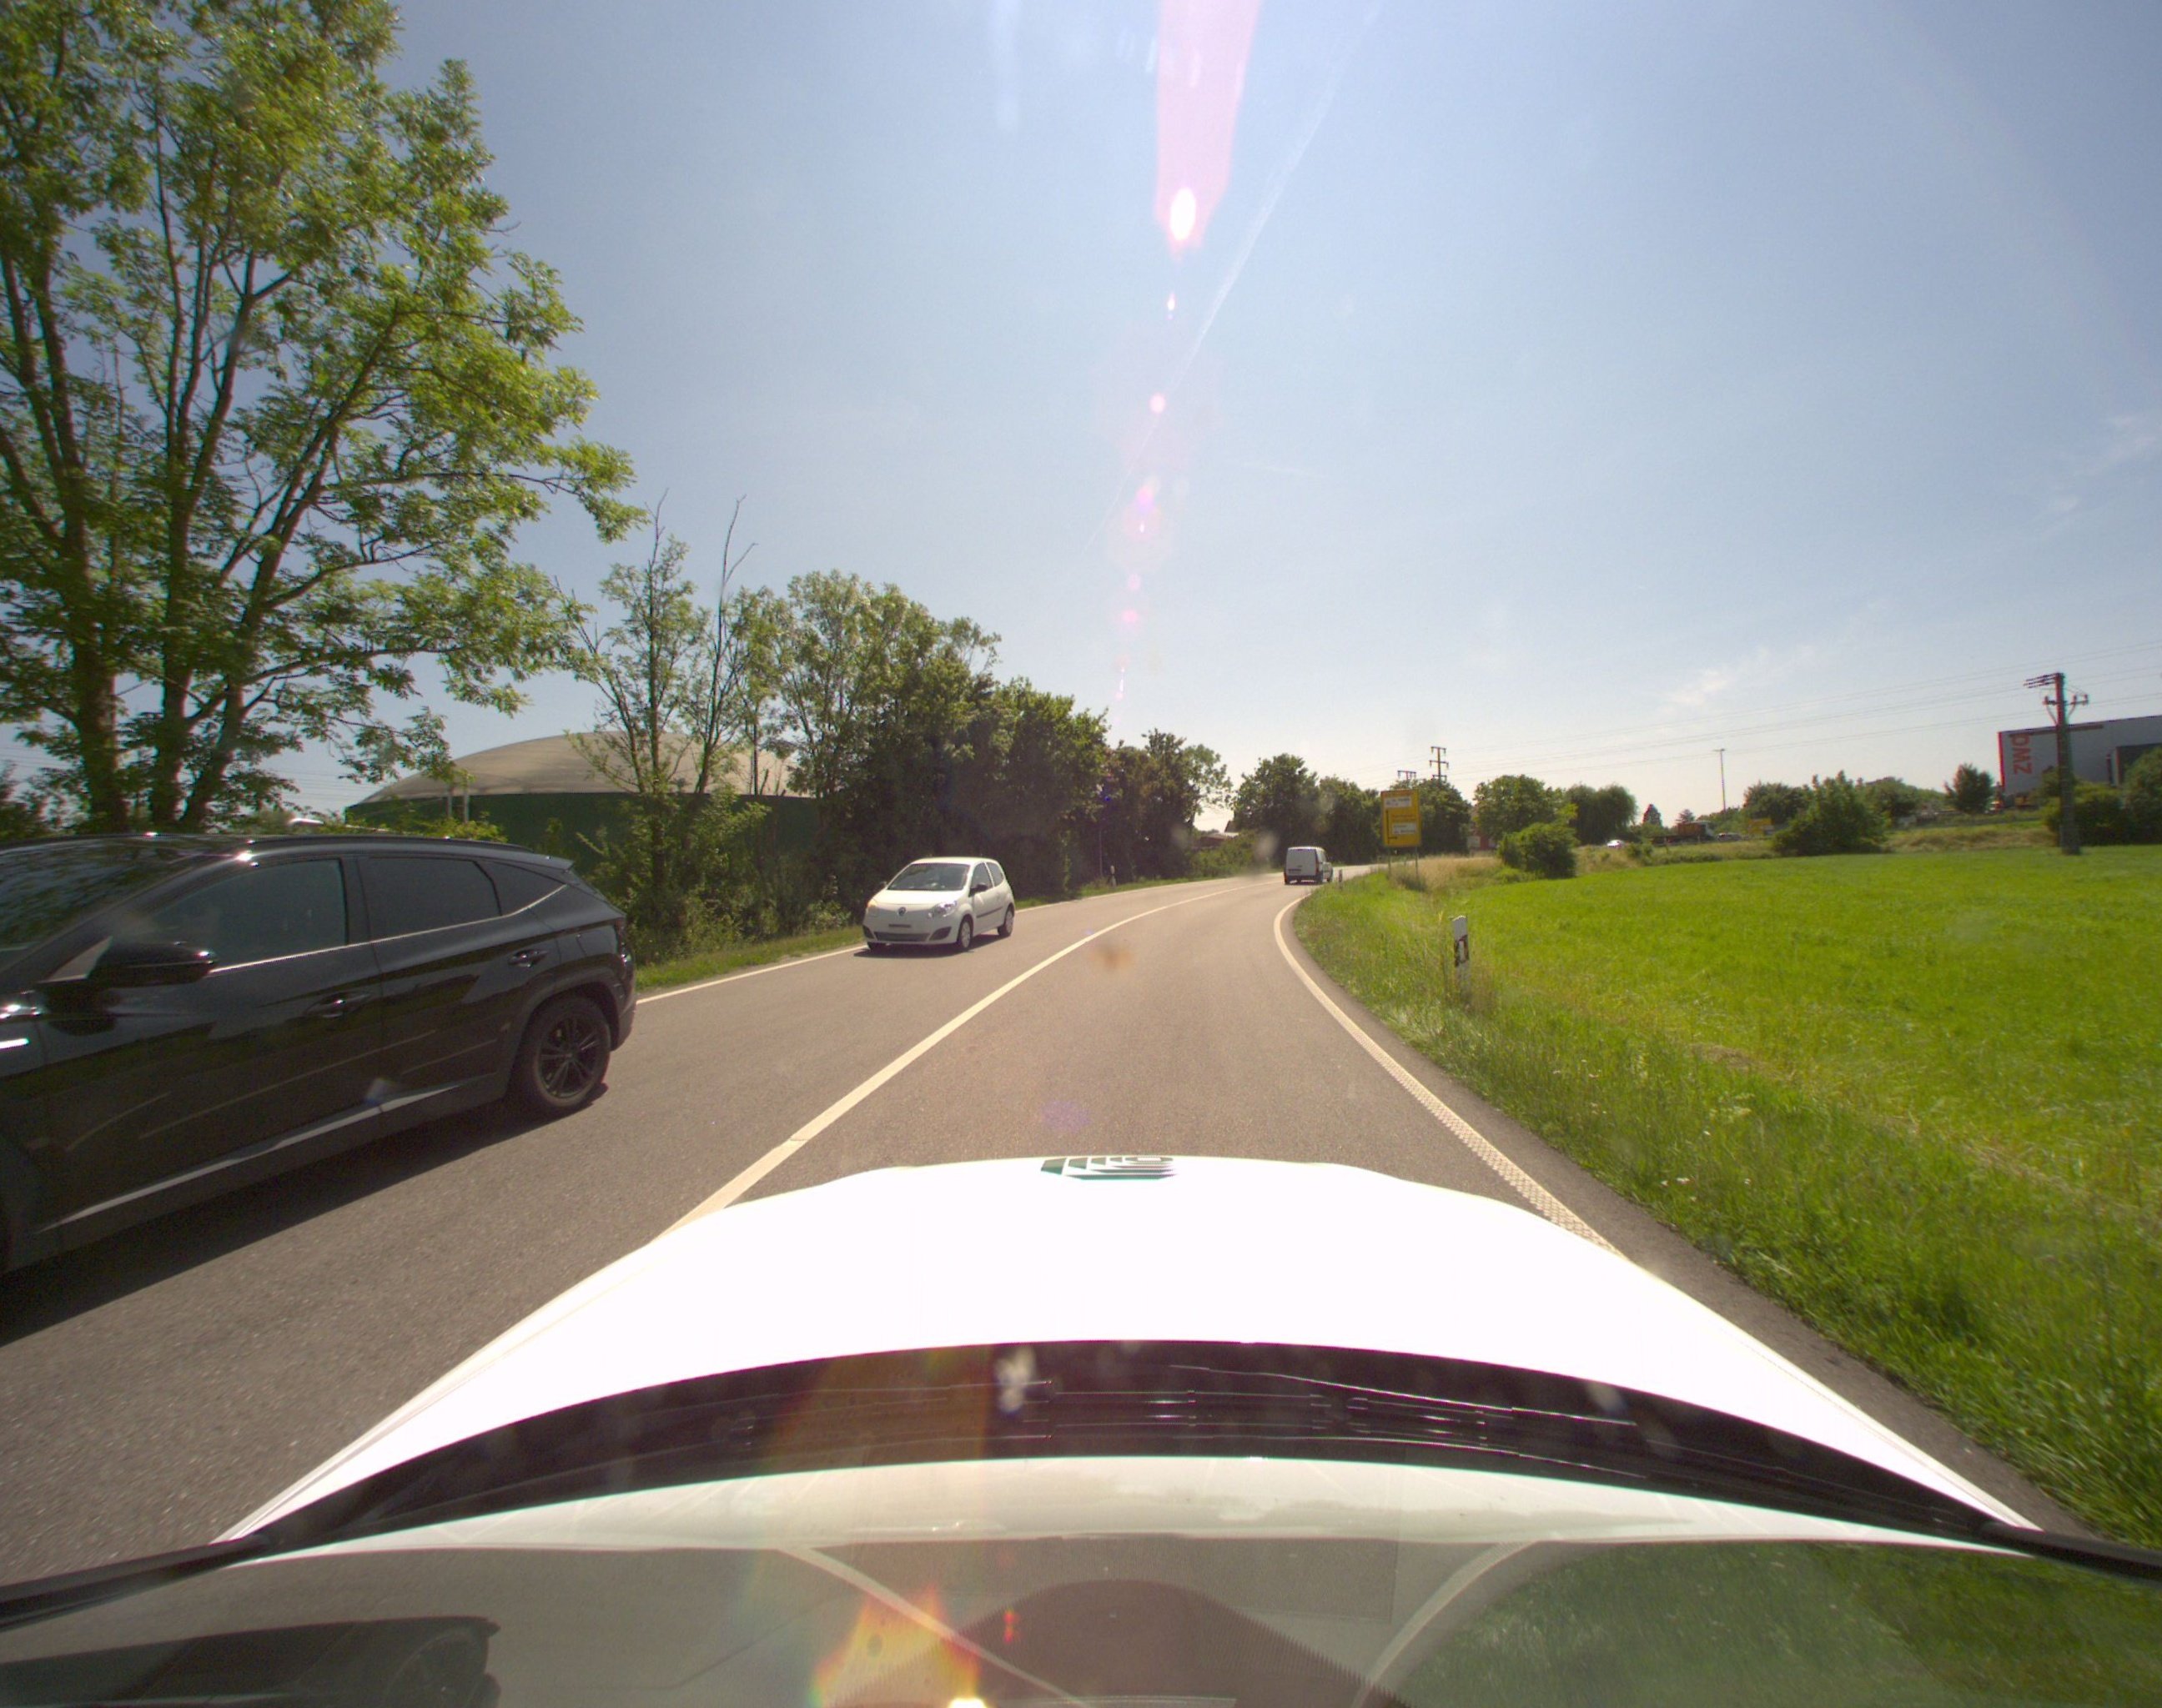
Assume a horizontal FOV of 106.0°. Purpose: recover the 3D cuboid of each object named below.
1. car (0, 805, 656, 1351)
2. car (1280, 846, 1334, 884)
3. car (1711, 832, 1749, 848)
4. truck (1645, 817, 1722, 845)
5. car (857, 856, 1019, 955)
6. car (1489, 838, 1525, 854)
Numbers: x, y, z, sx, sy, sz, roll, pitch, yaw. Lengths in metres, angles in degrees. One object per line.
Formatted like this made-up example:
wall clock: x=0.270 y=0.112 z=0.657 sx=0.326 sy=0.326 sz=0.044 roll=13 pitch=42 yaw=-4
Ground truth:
car: x=-3.969 y=0.674 z=3.455 sx=1.693 sy=1.638 sz=4.258 roll=0 pitch=0 yaw=7
car: x=11.075 y=0.528 z=39.791 sx=1.886 sy=1.732 sz=3.844 roll=-3 pitch=-1 yaw=24
car: x=92.115 y=-1.953 z=115.569 sx=2.011 sy=2.014 sz=3.950 roll=1 pitch=-2 yaw=-44
truck: x=73.245 y=-2.790 z=98.961 sx=8.801 sy=3.137 sz=3.088 roll=0 pitch=-1 yaw=-19
car: x=-2.280 y=0.786 z=13.939 sx=1.527 sy=1.443 sz=3.618 roll=1 pitch=-1 yaw=11
car: x=40.828 y=-0.786 z=78.026 sx=3.765 sy=1.420 sz=1.704 roll=-1 pitch=-2 yaw=-42
